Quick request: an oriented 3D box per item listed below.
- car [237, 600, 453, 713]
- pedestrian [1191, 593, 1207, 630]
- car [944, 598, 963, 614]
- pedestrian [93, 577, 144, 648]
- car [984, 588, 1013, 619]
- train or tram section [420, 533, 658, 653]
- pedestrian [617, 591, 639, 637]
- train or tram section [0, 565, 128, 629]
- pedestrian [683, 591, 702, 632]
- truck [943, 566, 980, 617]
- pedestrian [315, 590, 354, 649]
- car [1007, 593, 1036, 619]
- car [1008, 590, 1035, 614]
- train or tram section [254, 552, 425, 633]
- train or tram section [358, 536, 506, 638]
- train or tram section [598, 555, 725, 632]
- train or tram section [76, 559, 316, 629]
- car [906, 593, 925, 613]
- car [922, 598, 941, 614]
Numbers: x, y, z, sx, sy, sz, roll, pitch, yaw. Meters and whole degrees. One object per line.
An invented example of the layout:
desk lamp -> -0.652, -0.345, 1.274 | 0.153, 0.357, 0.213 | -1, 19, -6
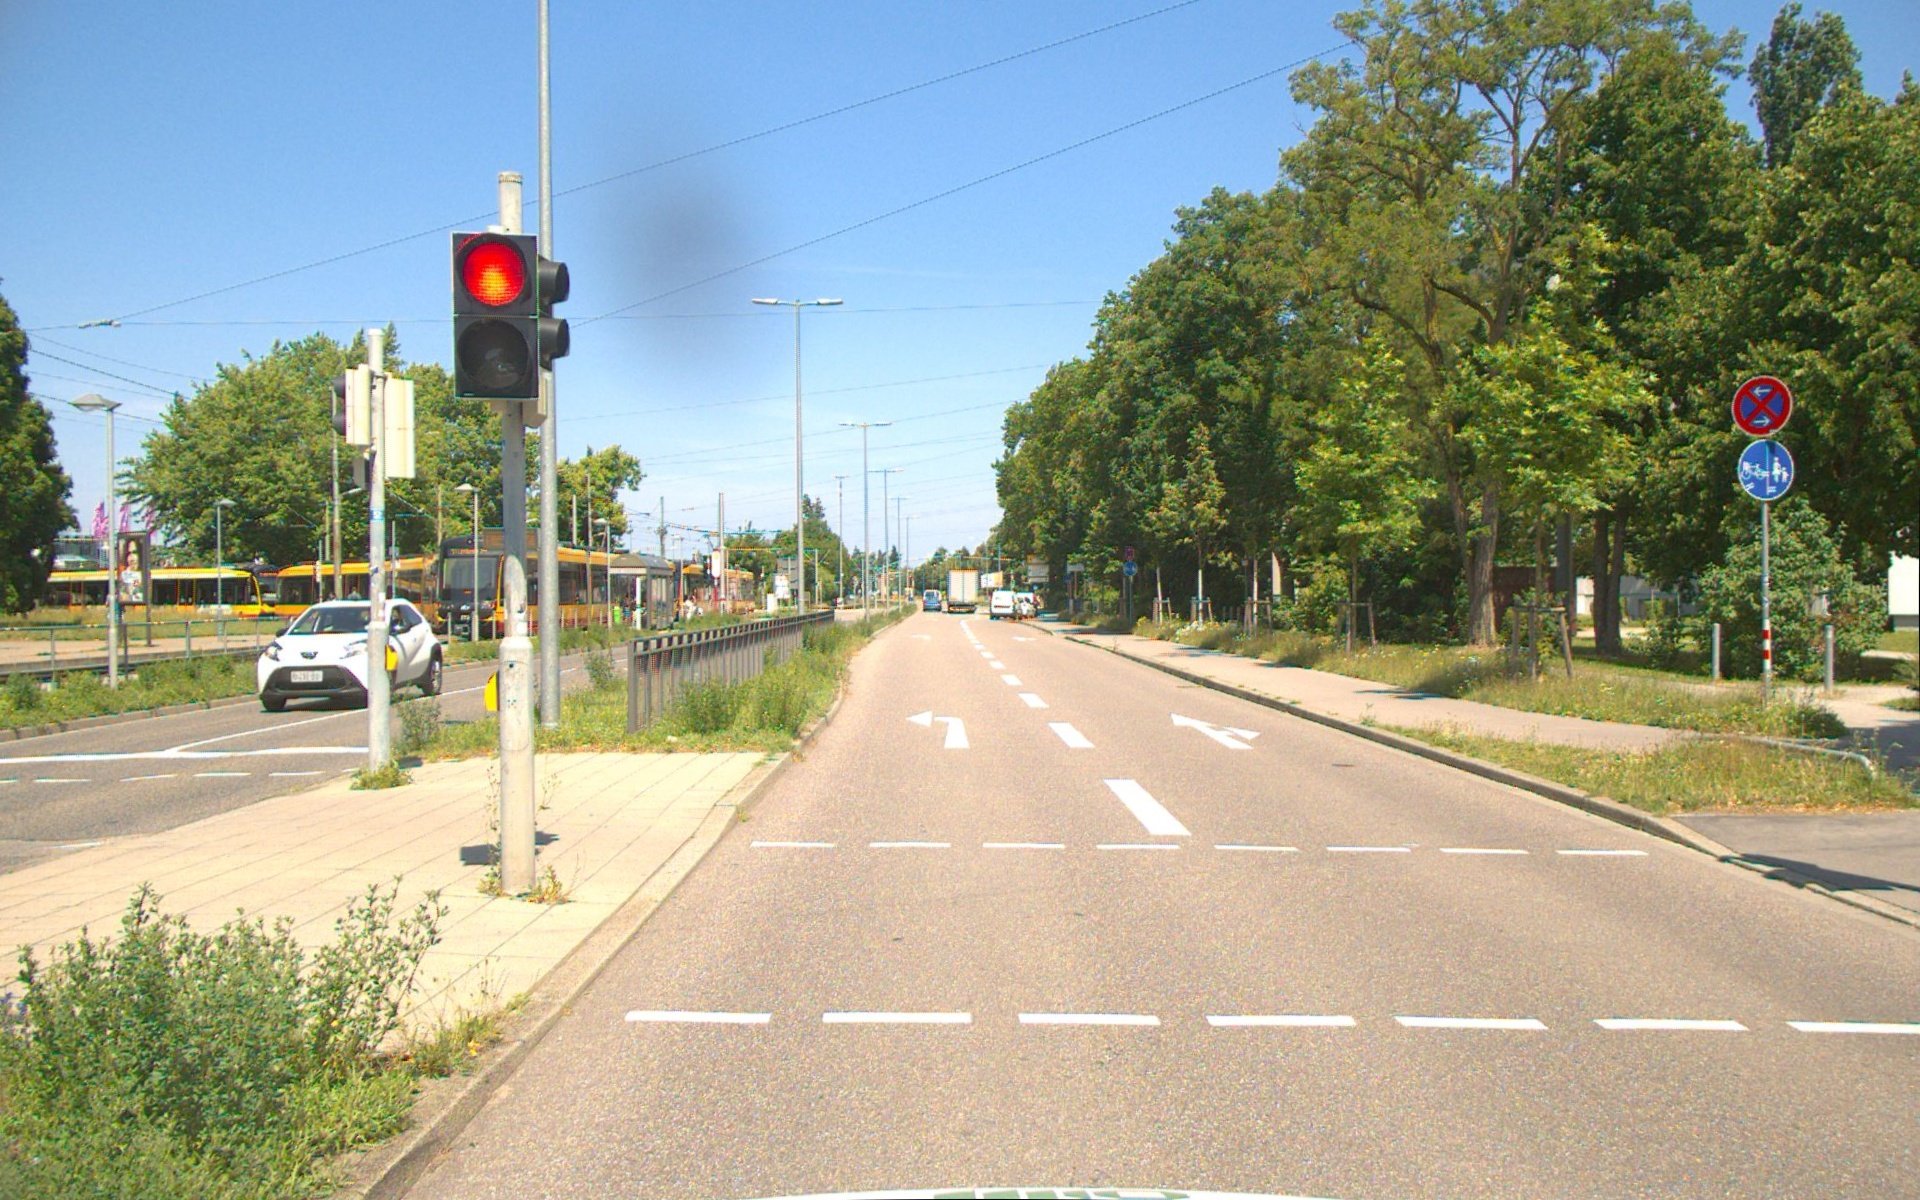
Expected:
car -> -8.947, 0.765, 24.393 | 1.807, 1.521, 3.790 | 0, 0, -1
pedestrian -> 9.497, 0.463, 65.698 | 0.591, 1.463, 0.556 | 0, 0, 6
car -> -0.603, 0.561, 153.593 | 1.774, 1.490, 3.999 | 0, 0, -1
pedestrian -> -24.722, 0.356, 48.591 | 0.961, 2.049, 1.021 | 0, 0, -1
car -> 2.444, 0.219, 105.543 | 1.743, 1.937, 3.999 | 0, 0, -1
train or tram section -> -16.141, -0.263, 67.701 | 2.898, 3.815, 30.022 | 0, 0, -2
pedestrian -> -13.857, 0.590, 69.073 | 0.769, 1.901, 0.817 | 0, 0, -1
train or tram section -> -61.939, -0.160, 109.169 | 18.095, 4.000, 3.220 | 0, 0, 30
pedestrian -> -13.474, 0.587, 83.432 | 0.798, 2.049, 0.938 | 0, 0, -1
truck -> 0.058, -0.732, 146.059 | 3.140, 4.435, 6.559 | 0, 0, -1
pedestrian -> -21.760, 0.673, 57.570 | 0.961, 2.049, 1.021 | 0, 0, -1
car -> 4.173, 0.397, 112.414 | 1.743, 1.698, 3.999 | 0, 0, -1
car -> 4.395, 0.117, 118.848 | 1.743, 1.698, 3.999 | 0, 0, -1
train or tram section -> -33.773, -0.380, 89.231 | 3.194, 4.000, 18.242 | 0, 0, -38
train or tram section -> -23.910, -0.522, 73.890 | 3.179, 4.000, 18.330 | 0, 0, -28
train or tram section -> -17.257, -0.391, 99.122 | 2.872, 3.856, 33.072 | 0, 0, -2
train or tram section -> -46.508, -0.323, 100.200 | 18.091, 4.000, 3.220 | 0, 0, 29
car -> -4.712, 0.331, 175.082 | 1.953, 2.049, 3.999 | 0, 0, -1
car -> -2.699, 0.520, 157.829 | 1.774, 1.490, 3.999 | 0, 0, -1
